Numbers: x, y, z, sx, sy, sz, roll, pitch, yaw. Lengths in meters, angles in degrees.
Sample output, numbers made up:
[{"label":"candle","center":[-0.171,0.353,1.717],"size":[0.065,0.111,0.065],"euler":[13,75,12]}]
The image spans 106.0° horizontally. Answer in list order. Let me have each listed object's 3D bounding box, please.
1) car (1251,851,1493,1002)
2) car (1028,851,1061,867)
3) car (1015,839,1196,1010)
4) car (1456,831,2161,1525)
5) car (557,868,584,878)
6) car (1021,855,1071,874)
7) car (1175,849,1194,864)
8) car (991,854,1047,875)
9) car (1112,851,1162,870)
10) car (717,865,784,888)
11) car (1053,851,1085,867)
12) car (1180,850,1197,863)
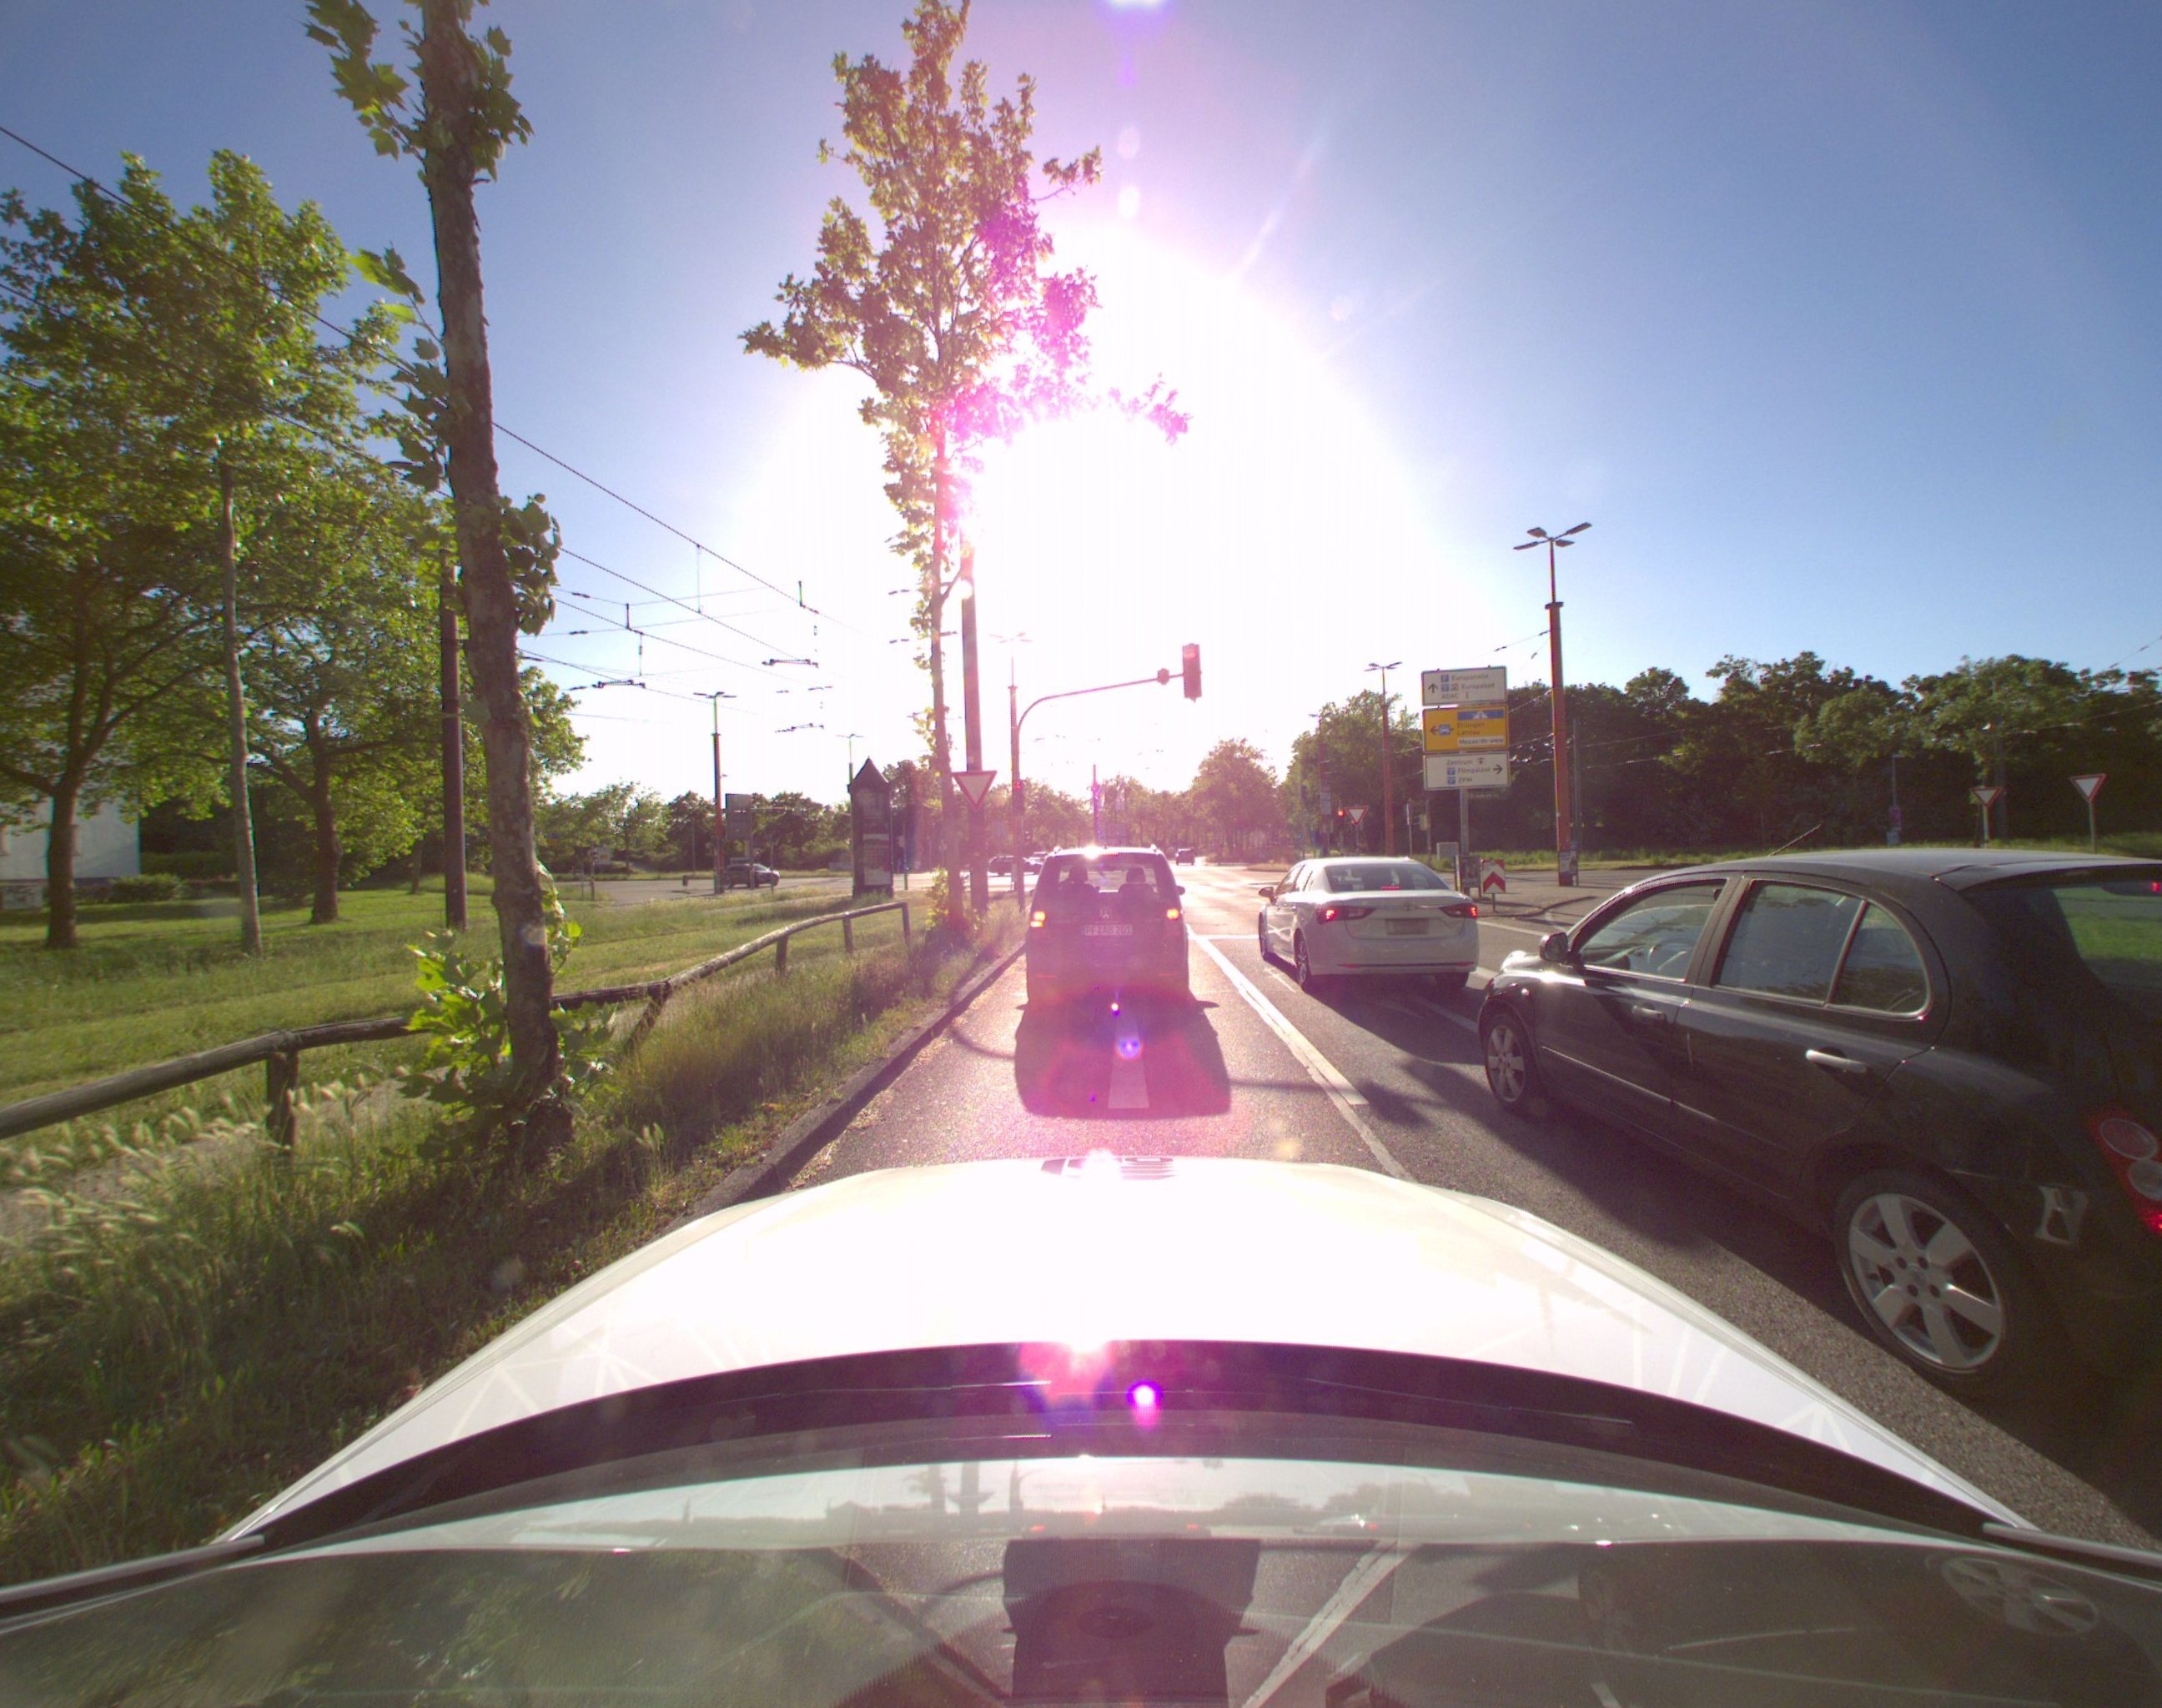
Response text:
[{"label":"car","center":[3.301,0.718,10.115],"size":[1.708,1.454,4.147],"euler":[-2,0,3]},{"label":"car","center":[-4.158,0.588,93.574],"size":[1.977,1.684,4.853],"euler":[-2,0,20]},{"label":"car","center":[0.299,0.694,9.988],"size":[1.731,1.641,4.002],"euler":[-2,0,2]},{"label":"car","center":[3.170,0.692,3.511],"size":[1.550,1.506,3.517],"euler":[-2,0,2]},{"label":"car","center":[-73.540,2.732,117.223],"size":[3.766,1.310,1.673],"euler":[-2,0,30]},{"label":"car","center":[-2.931,0.887,69.109],"size":[4.027,1.464,1.915],"euler":[-2,0,2]},{"label":"car","center":[10.855,0.205,85.181],"size":[1.897,1.464,4.383],"euler":[-1,0,7]},{"label":"car","center":[-4.757,0.772,62.346],"size":[4.223,1.464,1.909],"euler":[-2,0,-7]},{"label":"car","center":[4.695,0.517,67.958],"size":[4.079,1.464,1.891],"euler":[-1,0,-43]},{"label":"car","center":[-24.266,1.663,59.773],"size":[4.589,1.543,2.012],"euler":[-2,0,26]},{"label":"car","center":[-1.331,0.517,91.927],"size":[1.977,1.684,4.853],"euler":[-2,0,20]},{"label":"car","center":[13.275,0.314,100.337],"size":[1.896,1.464,4.235],"euler":[-2,0,10]}]
